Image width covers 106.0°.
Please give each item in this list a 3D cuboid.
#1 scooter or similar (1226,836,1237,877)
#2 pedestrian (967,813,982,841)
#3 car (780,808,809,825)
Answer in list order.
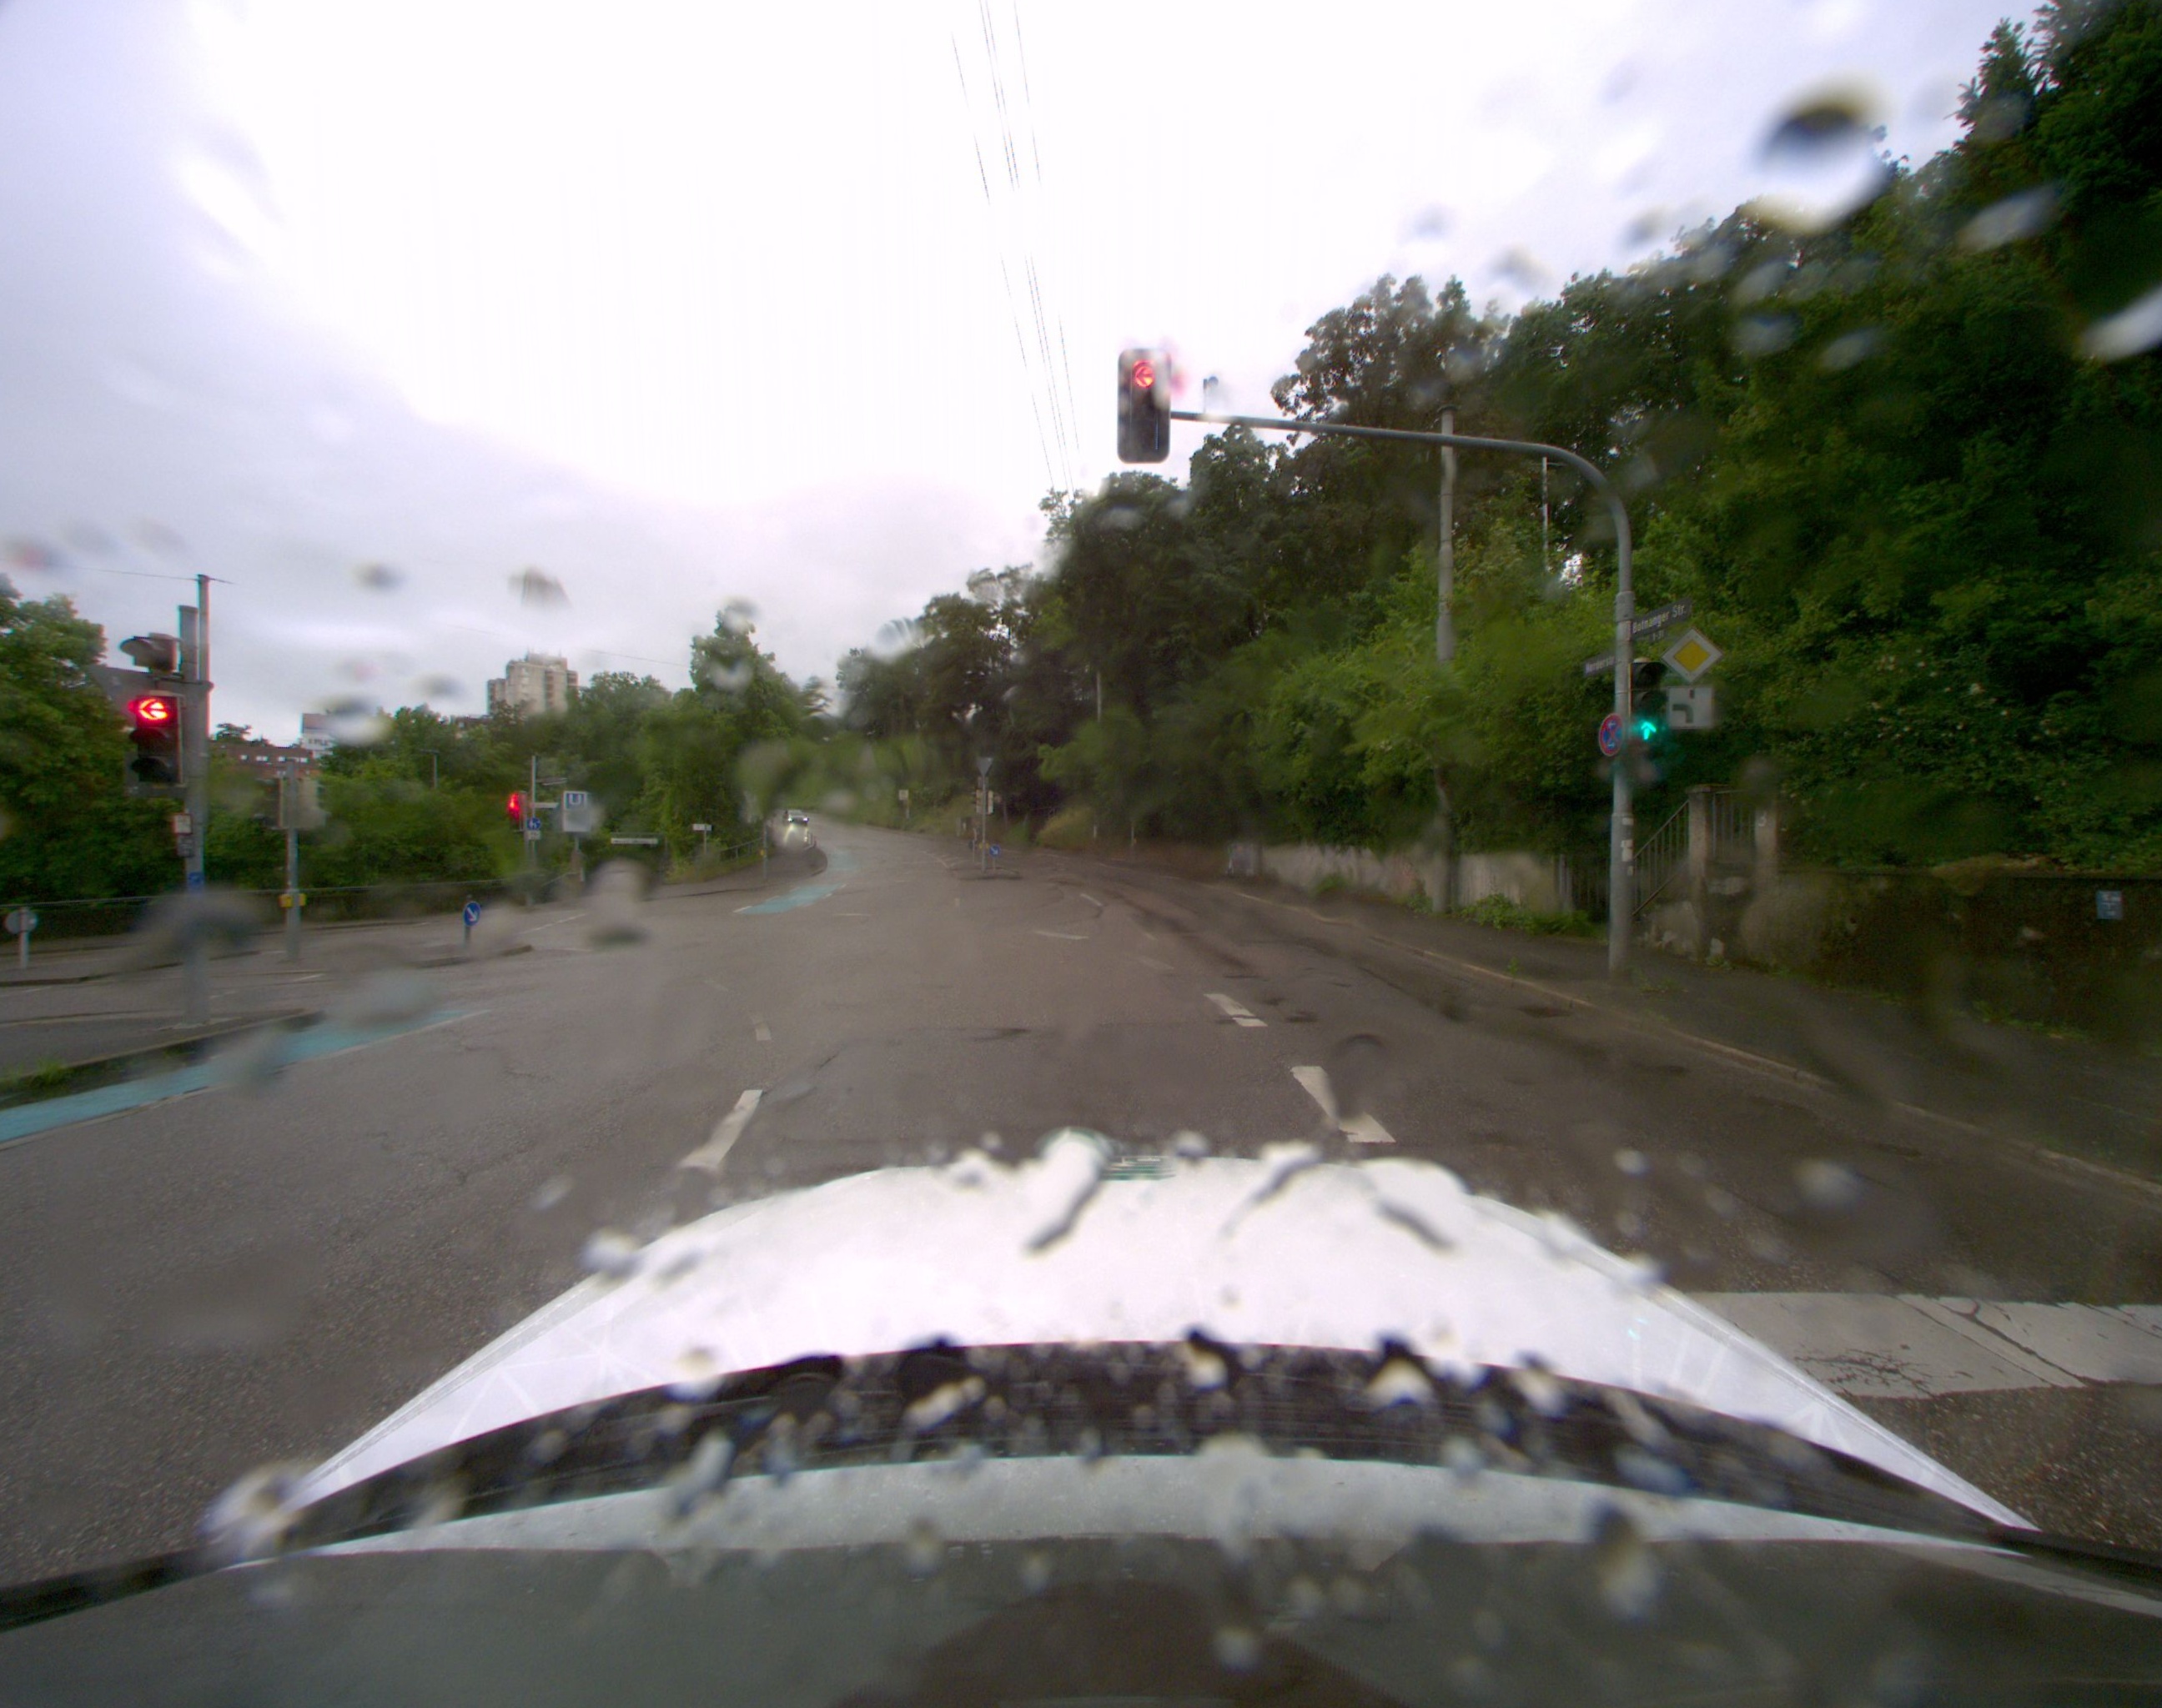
[{"bbox_3d":[4.906,0.065,26.505,0.320,1.279,0.754,-1,2,10],"label":"scooter or similar"},{"bbox_3d":[-6.948,-1.756,53.044,0.882,1.736,0.861,0,-1,-15],"label":"pedestrian"},{"bbox_3d":[-26.755,-3.497,76.034,1.967,1.511,4.366,-1,3,-27],"label":"car"}]
